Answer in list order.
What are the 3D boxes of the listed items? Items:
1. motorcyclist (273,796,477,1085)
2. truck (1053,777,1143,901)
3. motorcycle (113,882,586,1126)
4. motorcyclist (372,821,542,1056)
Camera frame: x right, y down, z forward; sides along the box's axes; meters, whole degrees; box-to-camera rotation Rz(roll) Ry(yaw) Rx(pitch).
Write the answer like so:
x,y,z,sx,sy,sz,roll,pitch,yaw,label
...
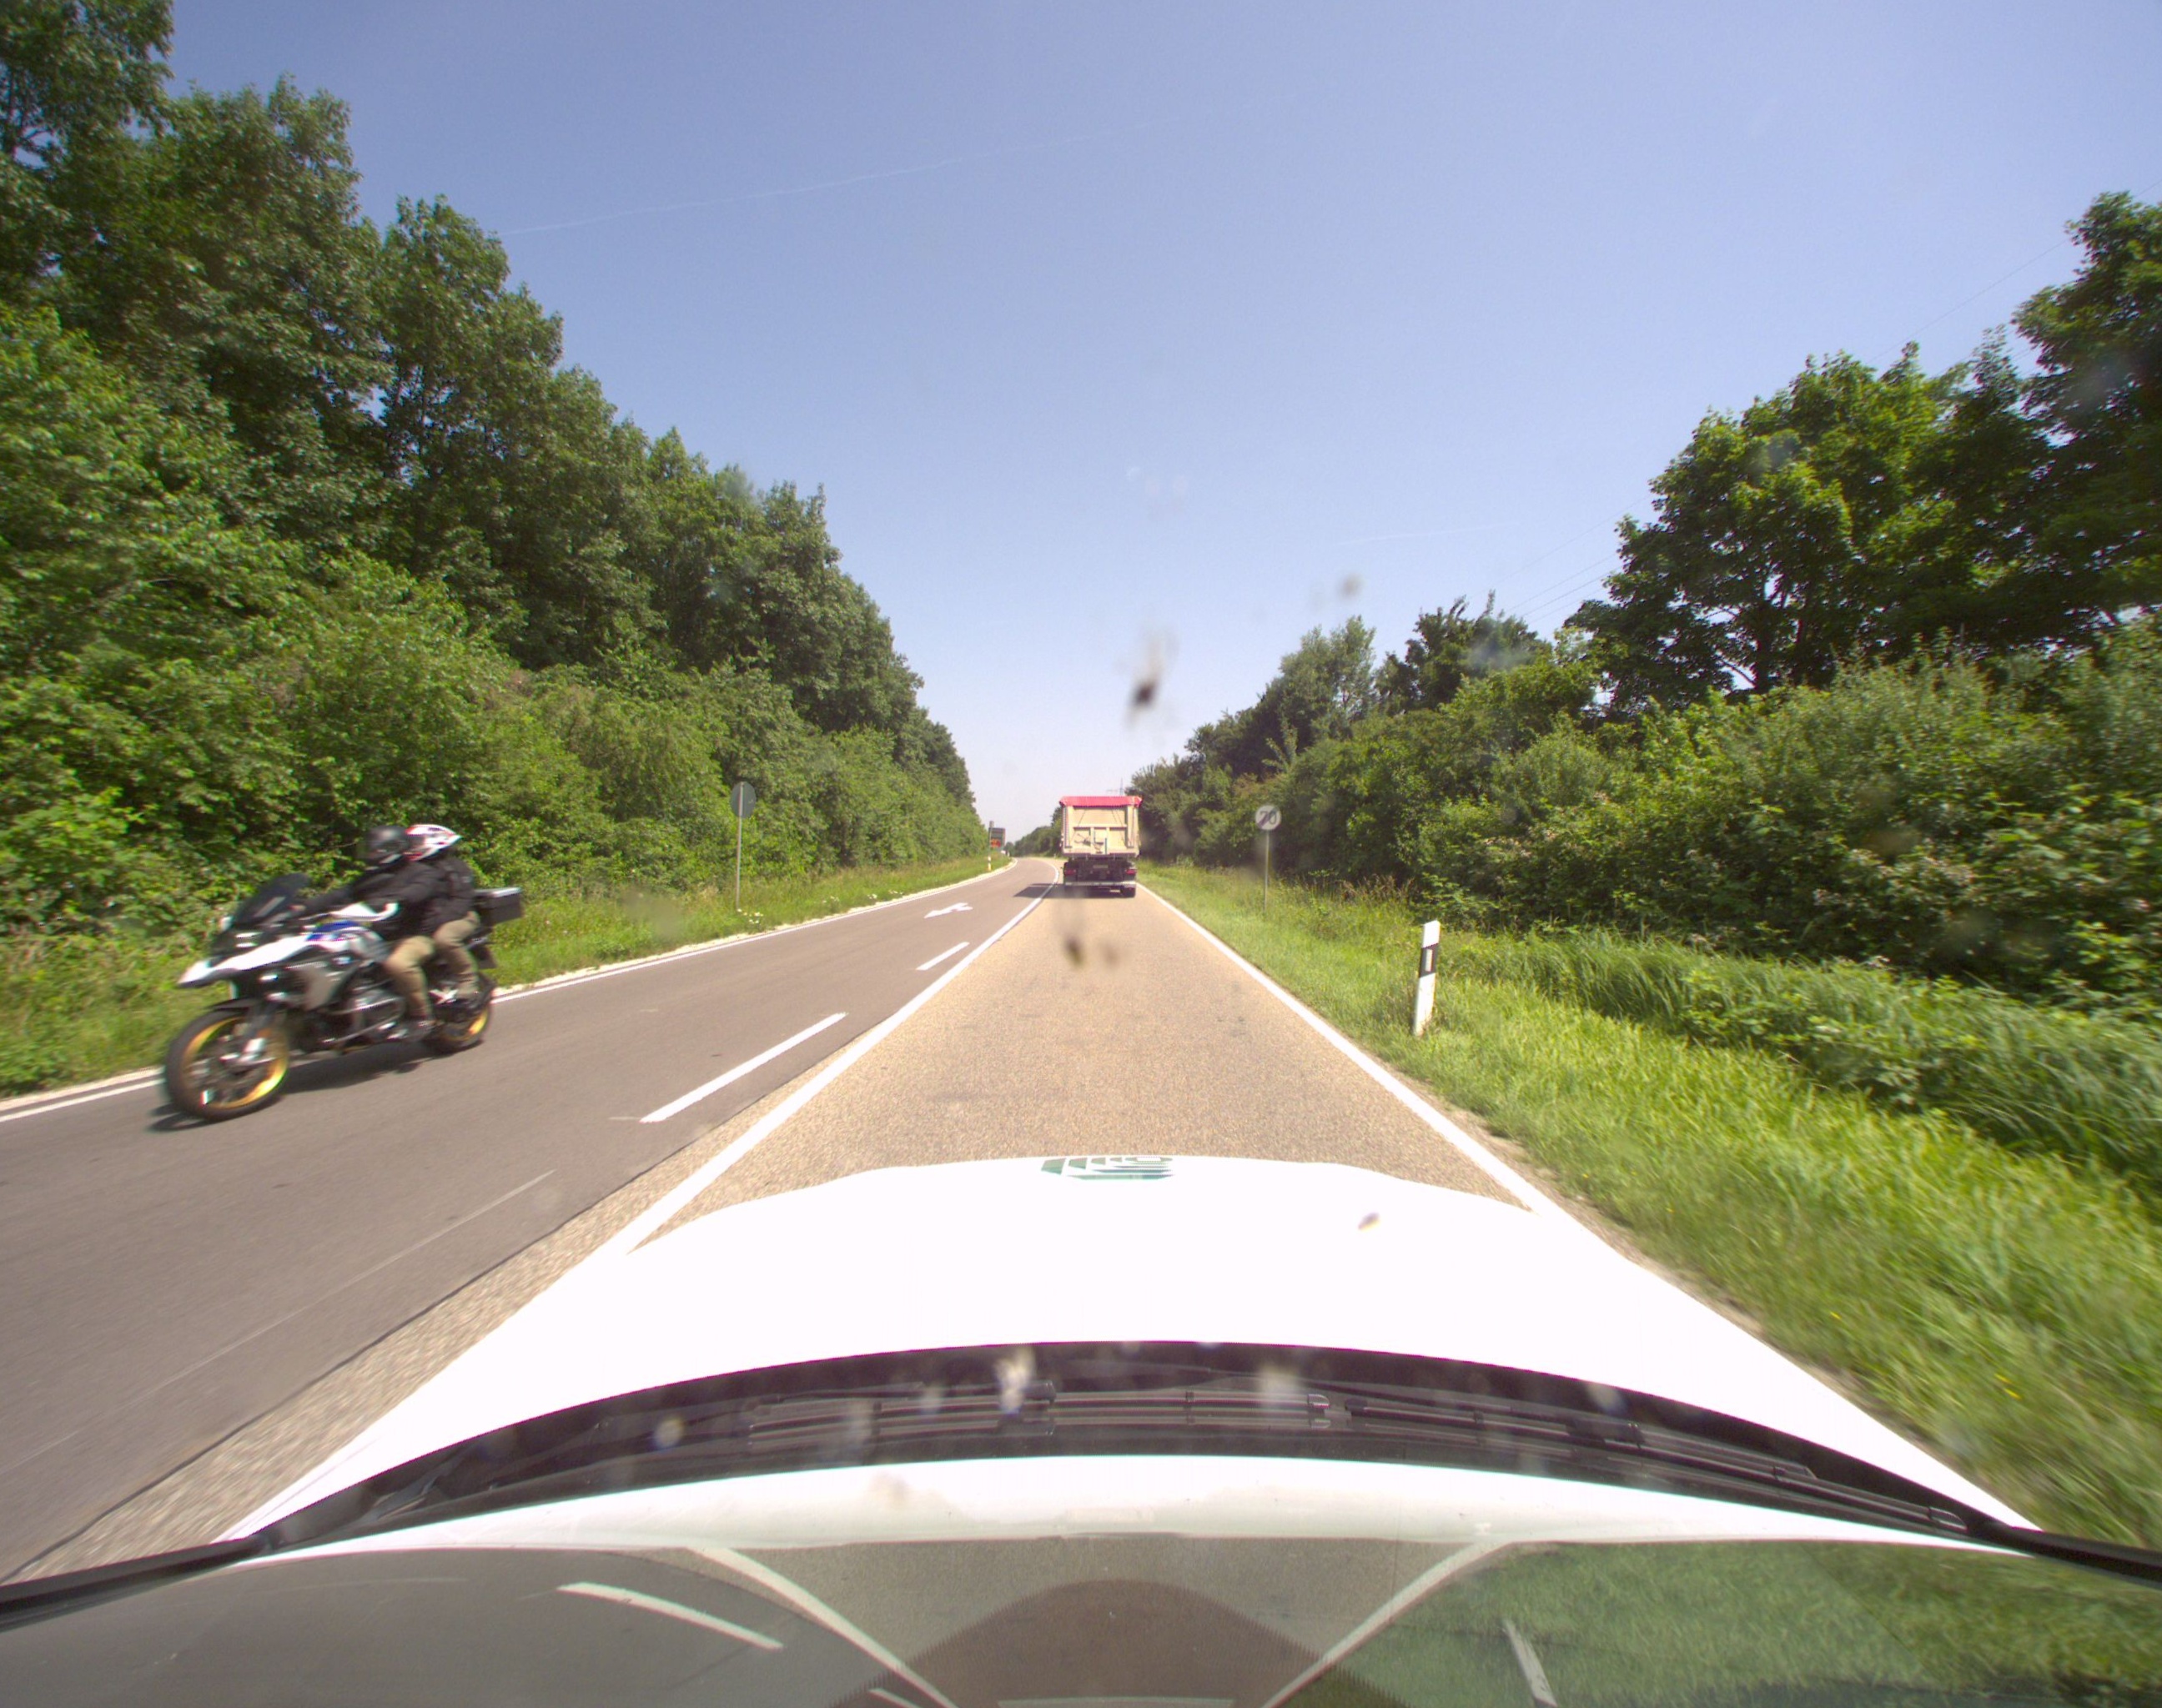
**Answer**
x,y,z,sx,sy,sz,roll,pitch,yaw,label
-4.856,0.567,5.650,0.817,1.882,0.657,0,0,0,motorcyclist
0.842,-0.503,32.138,2.881,3.962,11.941,0,0,3,truck
-4.864,0.879,5.851,0.943,1.251,2.682,0,0,1,motorcycle
-4.855,0.631,6.379,0.828,1.752,0.623,0,0,0,motorcyclist
